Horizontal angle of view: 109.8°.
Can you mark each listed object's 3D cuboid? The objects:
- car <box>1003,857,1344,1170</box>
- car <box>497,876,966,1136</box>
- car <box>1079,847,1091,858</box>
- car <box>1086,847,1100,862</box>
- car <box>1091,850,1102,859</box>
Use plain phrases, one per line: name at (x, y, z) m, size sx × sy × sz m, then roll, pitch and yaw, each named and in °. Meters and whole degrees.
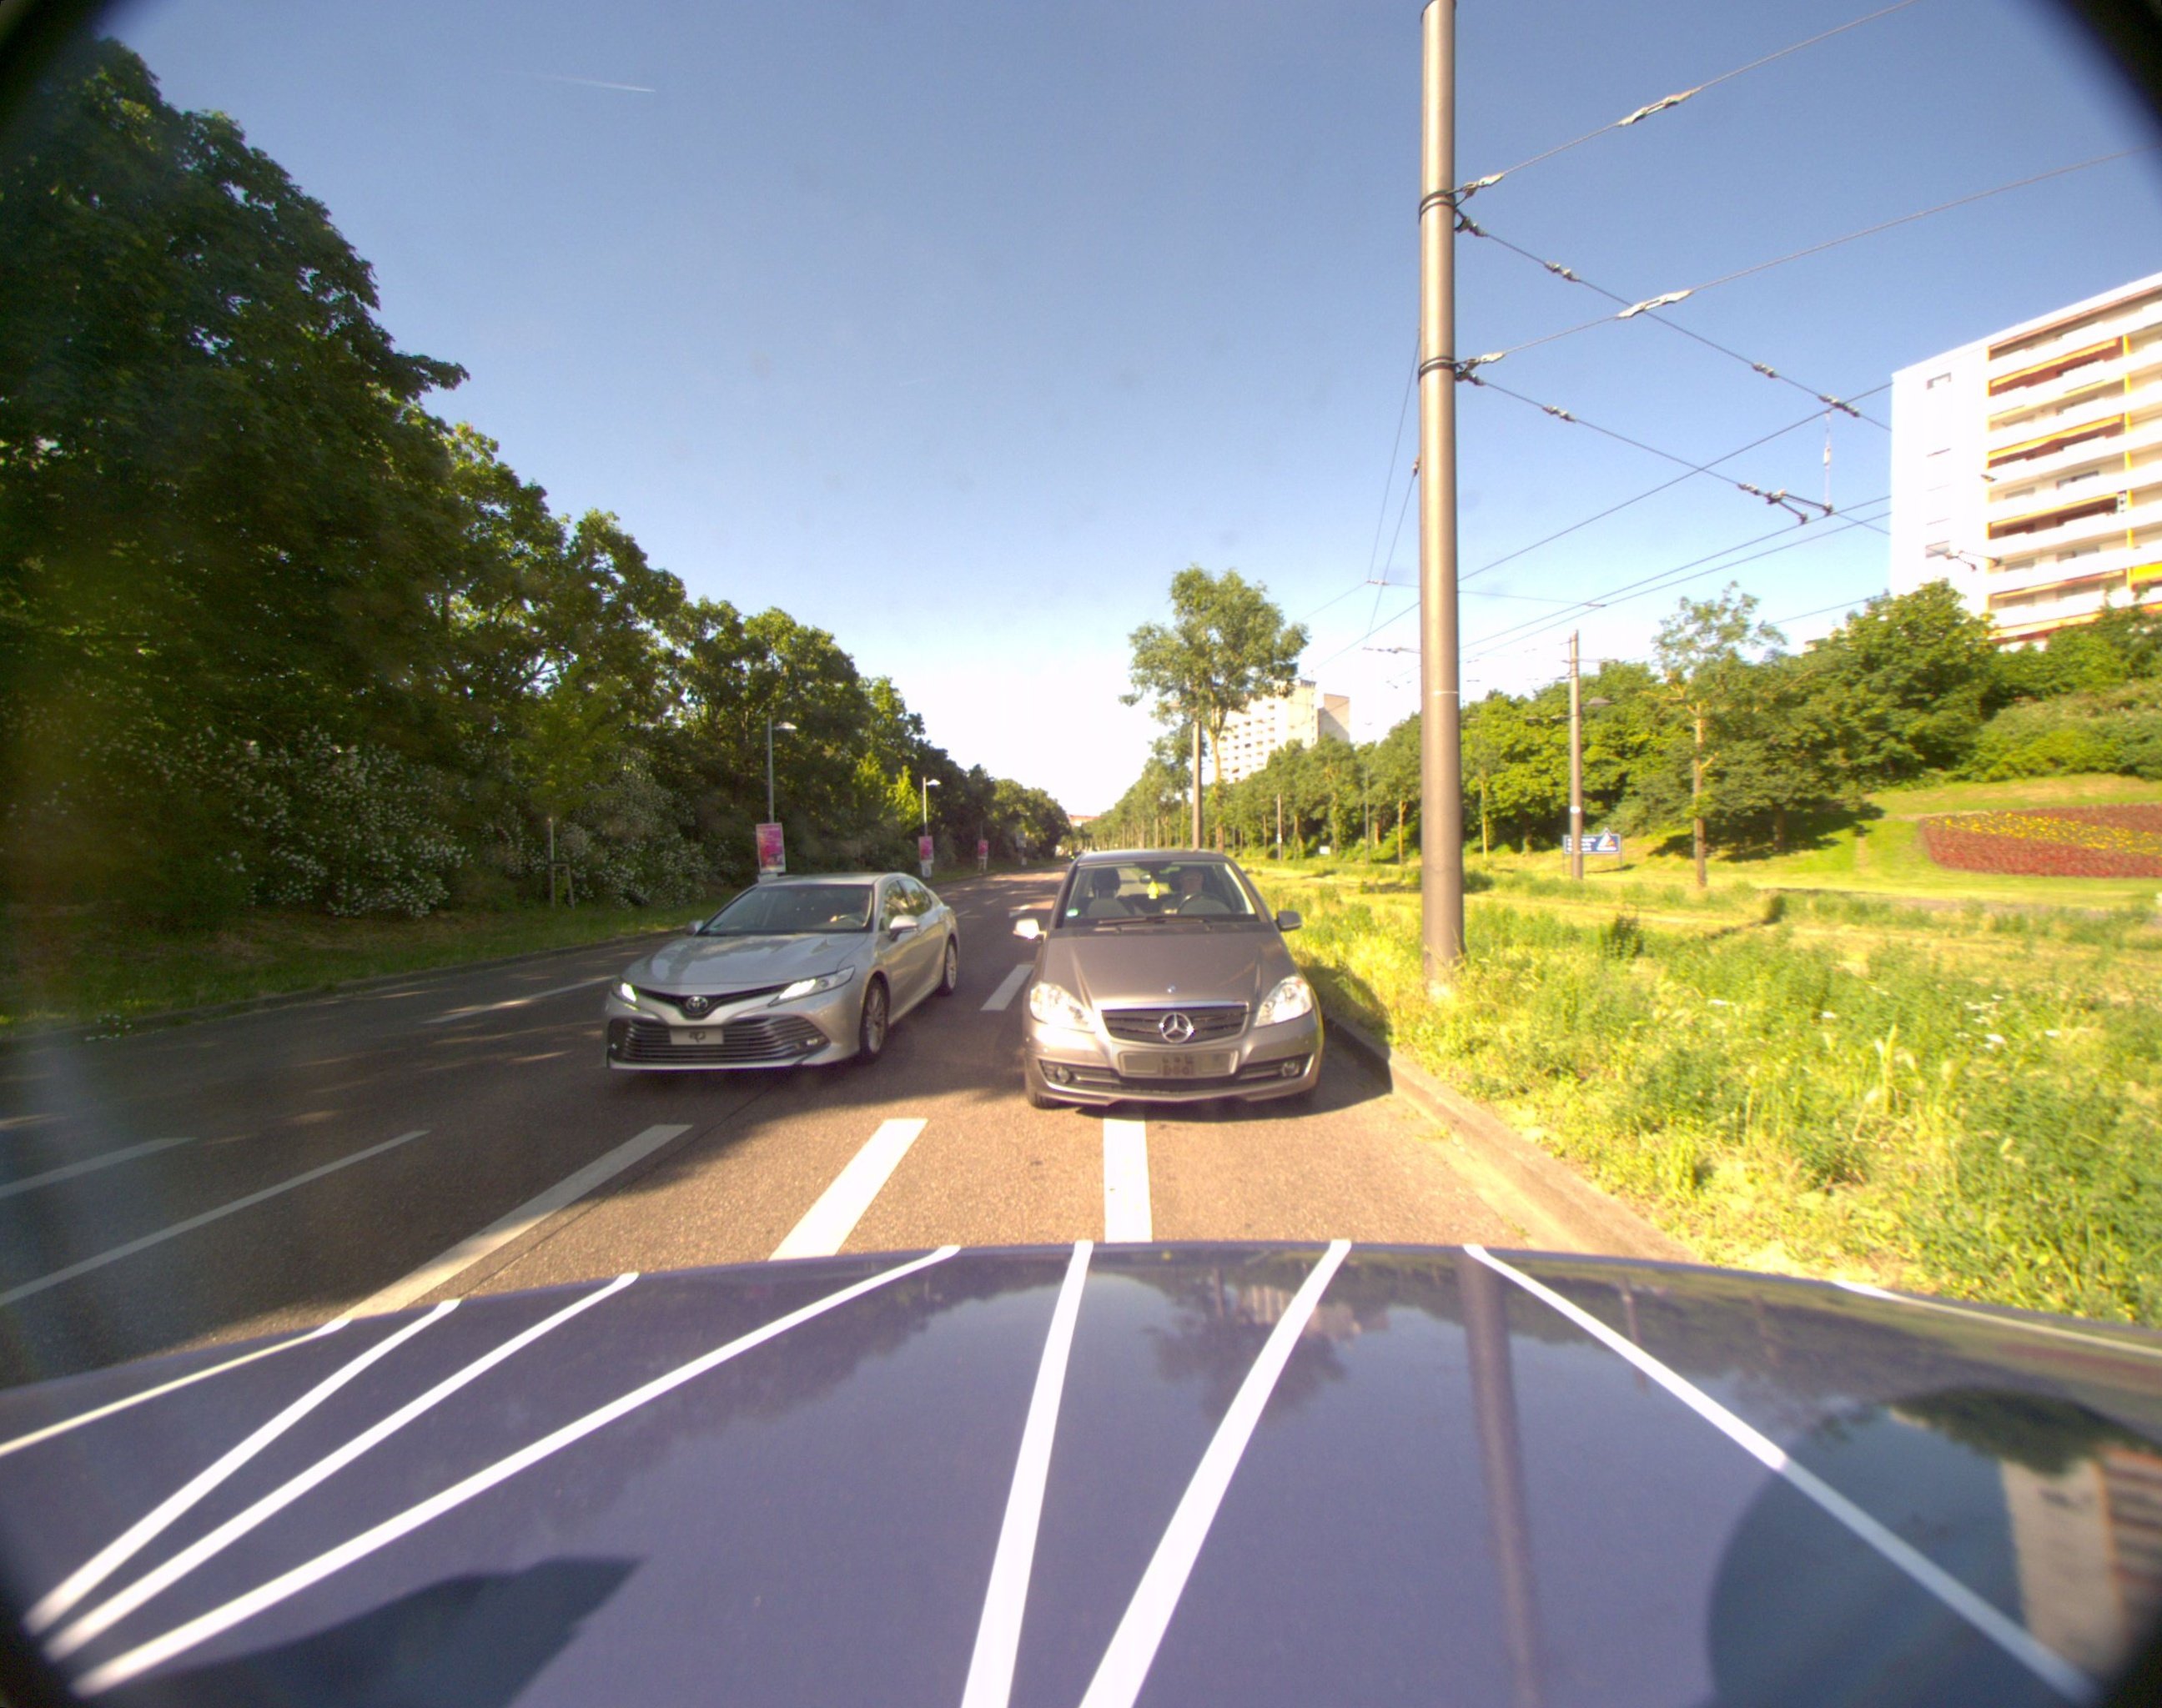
car at (0.516, 0.852, 6.199) m, size 1.777 × 1.597 × 4.384 m, roll -1°, pitch 0°, yaw 1°
car at (-2.550, 1.029, 7.134) m, size 2.069 × 1.451 × 4.749 m, roll -1°, pitch 0°, yaw 2°
car at (0.665, -0.279, 134.120) m, size 1.998 × 1.882 × 5.148 m, roll -1°, pitch 0°, yaw 1°
car at (1.605, 0.065, 101.467) m, size 1.822 × 1.893 × 4.622 m, roll -1°, pitch 0°, yaw 2°
car at (2.550, 0.021, 122.995) m, size 1.776 × 1.395 × 4.067 m, roll -1°, pitch 0°, yaw 2°
